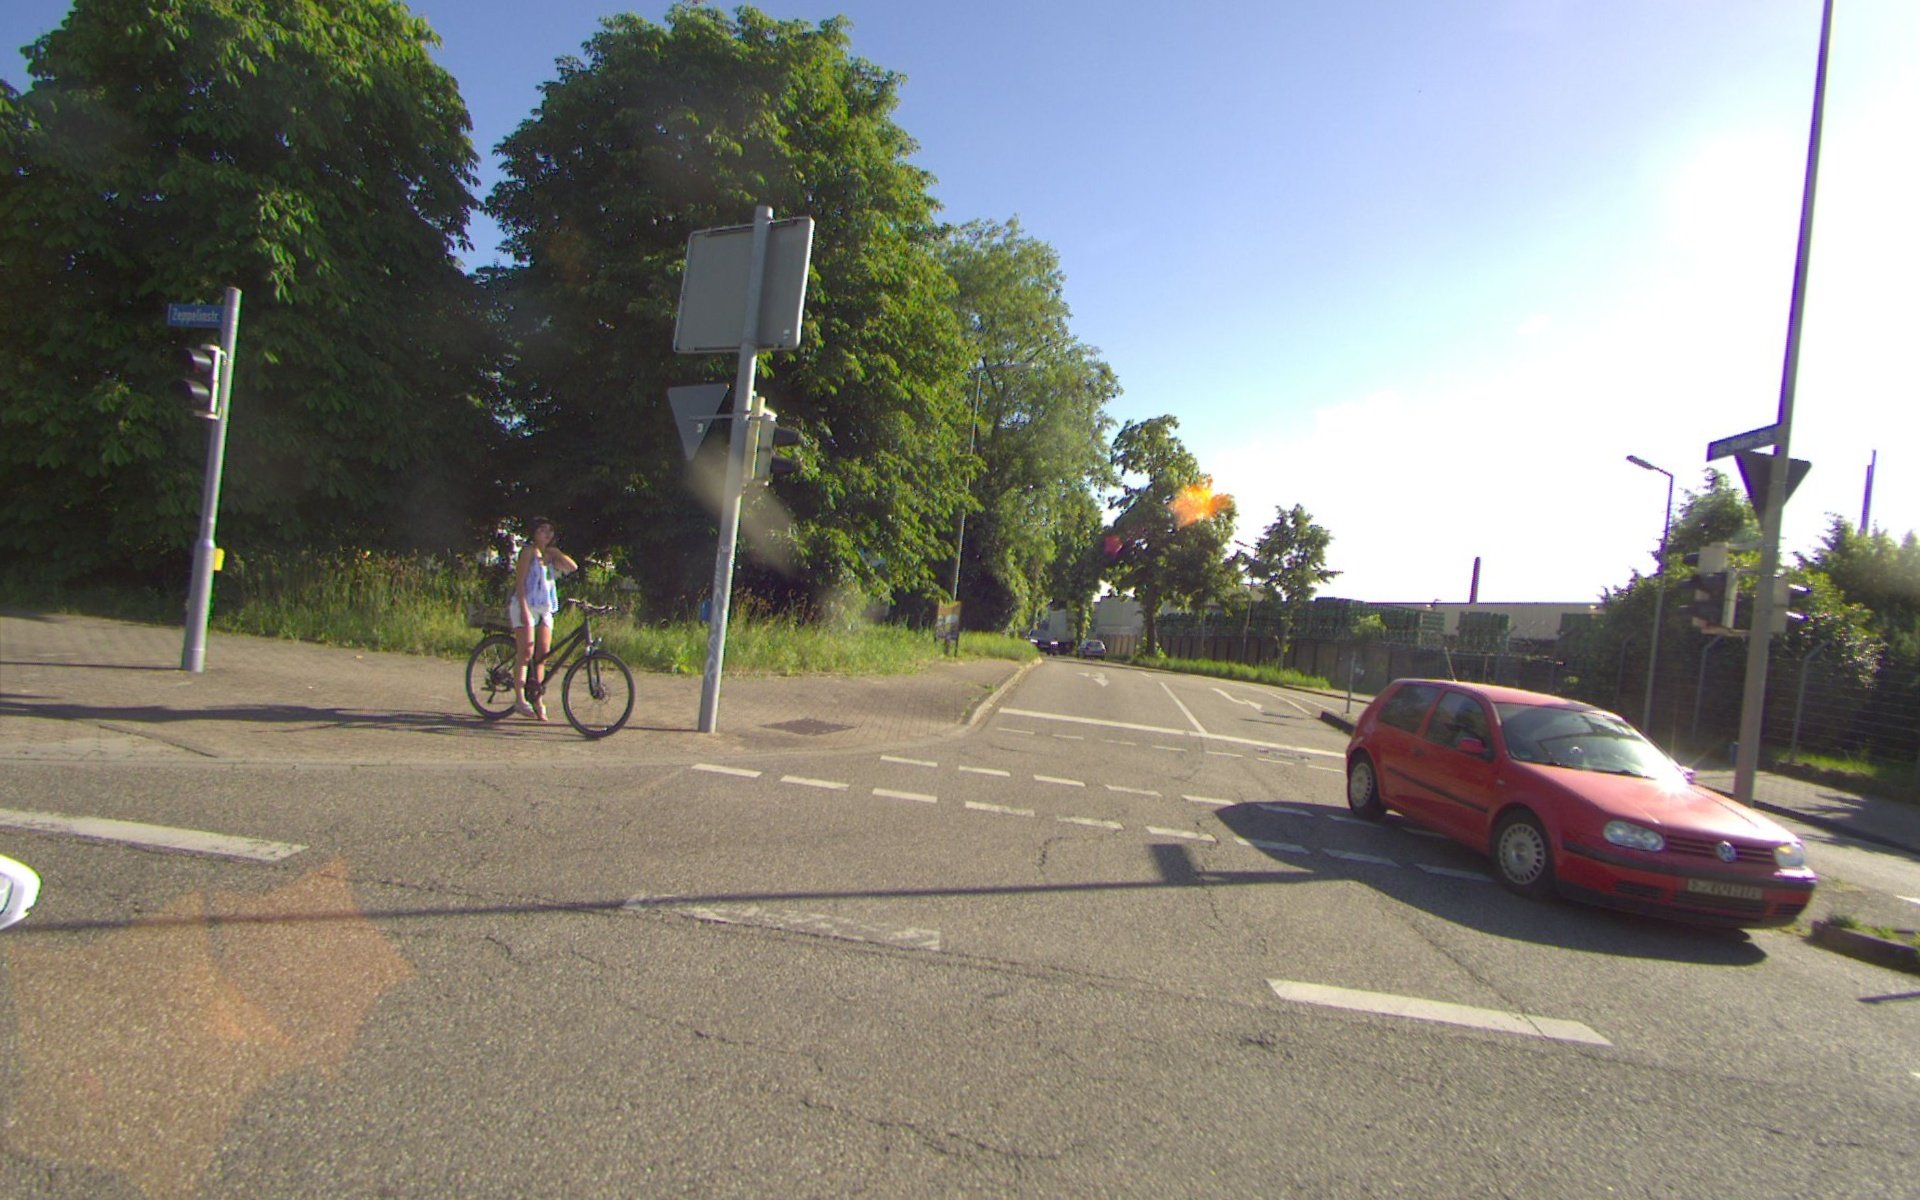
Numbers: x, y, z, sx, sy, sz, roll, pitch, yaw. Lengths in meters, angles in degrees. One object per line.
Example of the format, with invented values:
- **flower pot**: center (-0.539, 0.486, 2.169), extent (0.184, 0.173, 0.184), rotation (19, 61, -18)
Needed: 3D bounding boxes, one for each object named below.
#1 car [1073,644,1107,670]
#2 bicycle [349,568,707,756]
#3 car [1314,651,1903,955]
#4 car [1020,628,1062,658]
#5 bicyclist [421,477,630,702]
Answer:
- **car**: center (9.462, 4.155, 73.569), extent (1.664, 1.651, 3.129), rotation (7, -1, -5)
- **bicycle**: center (-3.699, 0.491, 8.579), extent (2.898, 1.138, 0.903), rotation (7, -1, 21)
- **car**: center (4.748, 1.374, 8.274), extent (1.830, 1.488, 4.135), rotation (6, 0, -4)
- **car**: center (4.777, 2.514, 59.680), extent (1.830, 1.487, 4.139), rotation (7, -2, -2)
- **bicyclist**: center (-3.695, -0.072, 8.608), extent (1.168, 1.712, 0.893), rotation (7, -1, 21)
